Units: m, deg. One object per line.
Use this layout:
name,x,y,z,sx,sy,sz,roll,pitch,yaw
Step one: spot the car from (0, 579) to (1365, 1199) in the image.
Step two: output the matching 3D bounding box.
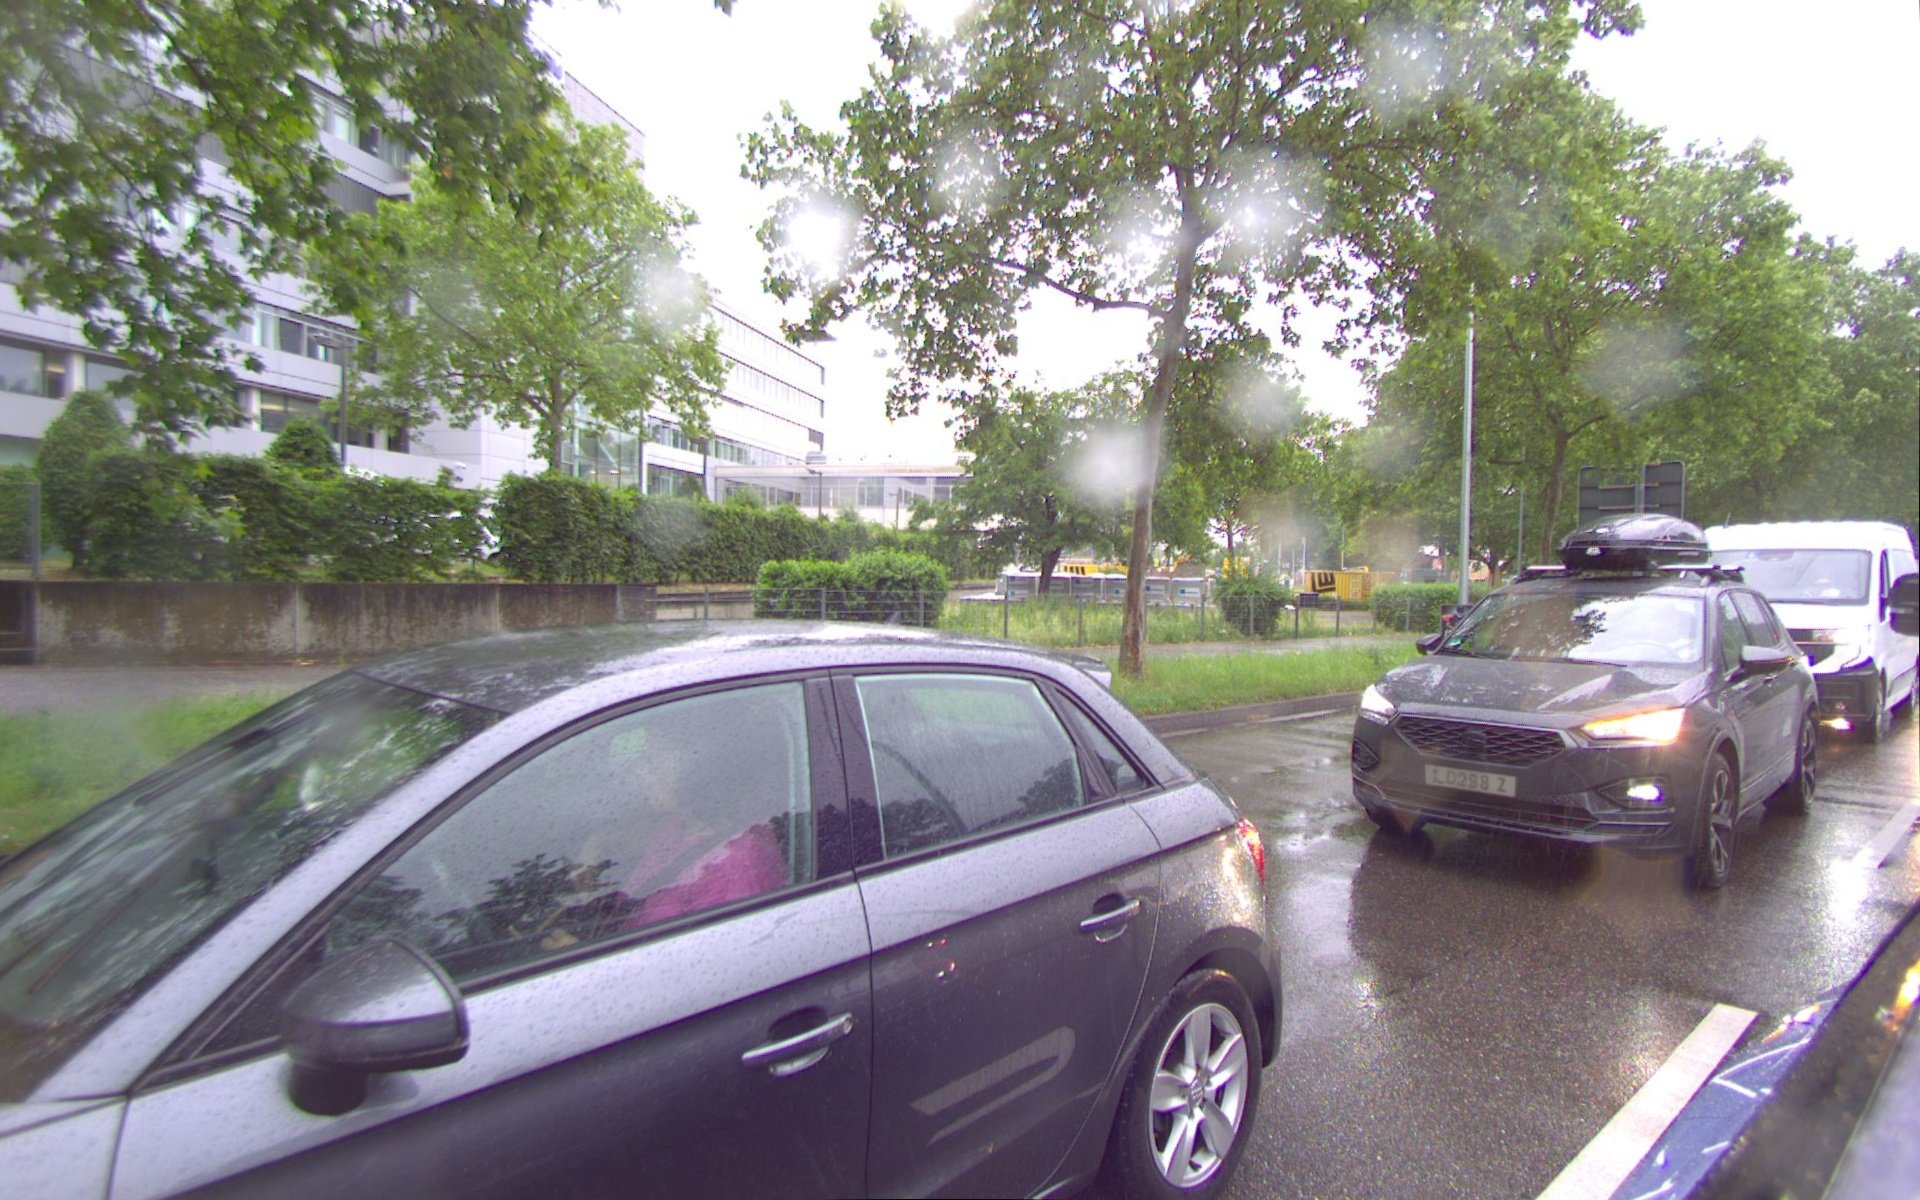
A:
car,-0.832,0.691,2.199,3.715,1.446,1.679,0,1,-41

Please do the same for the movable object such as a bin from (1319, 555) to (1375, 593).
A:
movable object such as a bin,36.448,-2.445,95.467,4.878,3.478,1.905,0,0,21

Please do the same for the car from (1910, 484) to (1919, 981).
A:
car,6.325,0.178,4.961,5.599,2.544,2.024,0,1,-43

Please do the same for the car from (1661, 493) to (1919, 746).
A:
car,10.408,0.169,12.374,5.227,2.476,1.892,0,1,-43

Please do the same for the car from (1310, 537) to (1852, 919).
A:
car,4.324,0.551,6.724,4.347,1.719,1.892,0,1,-42

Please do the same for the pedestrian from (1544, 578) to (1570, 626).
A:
pedestrian,21.639,0.060,36.673,0.645,1.738,0.645,0,0,-40
